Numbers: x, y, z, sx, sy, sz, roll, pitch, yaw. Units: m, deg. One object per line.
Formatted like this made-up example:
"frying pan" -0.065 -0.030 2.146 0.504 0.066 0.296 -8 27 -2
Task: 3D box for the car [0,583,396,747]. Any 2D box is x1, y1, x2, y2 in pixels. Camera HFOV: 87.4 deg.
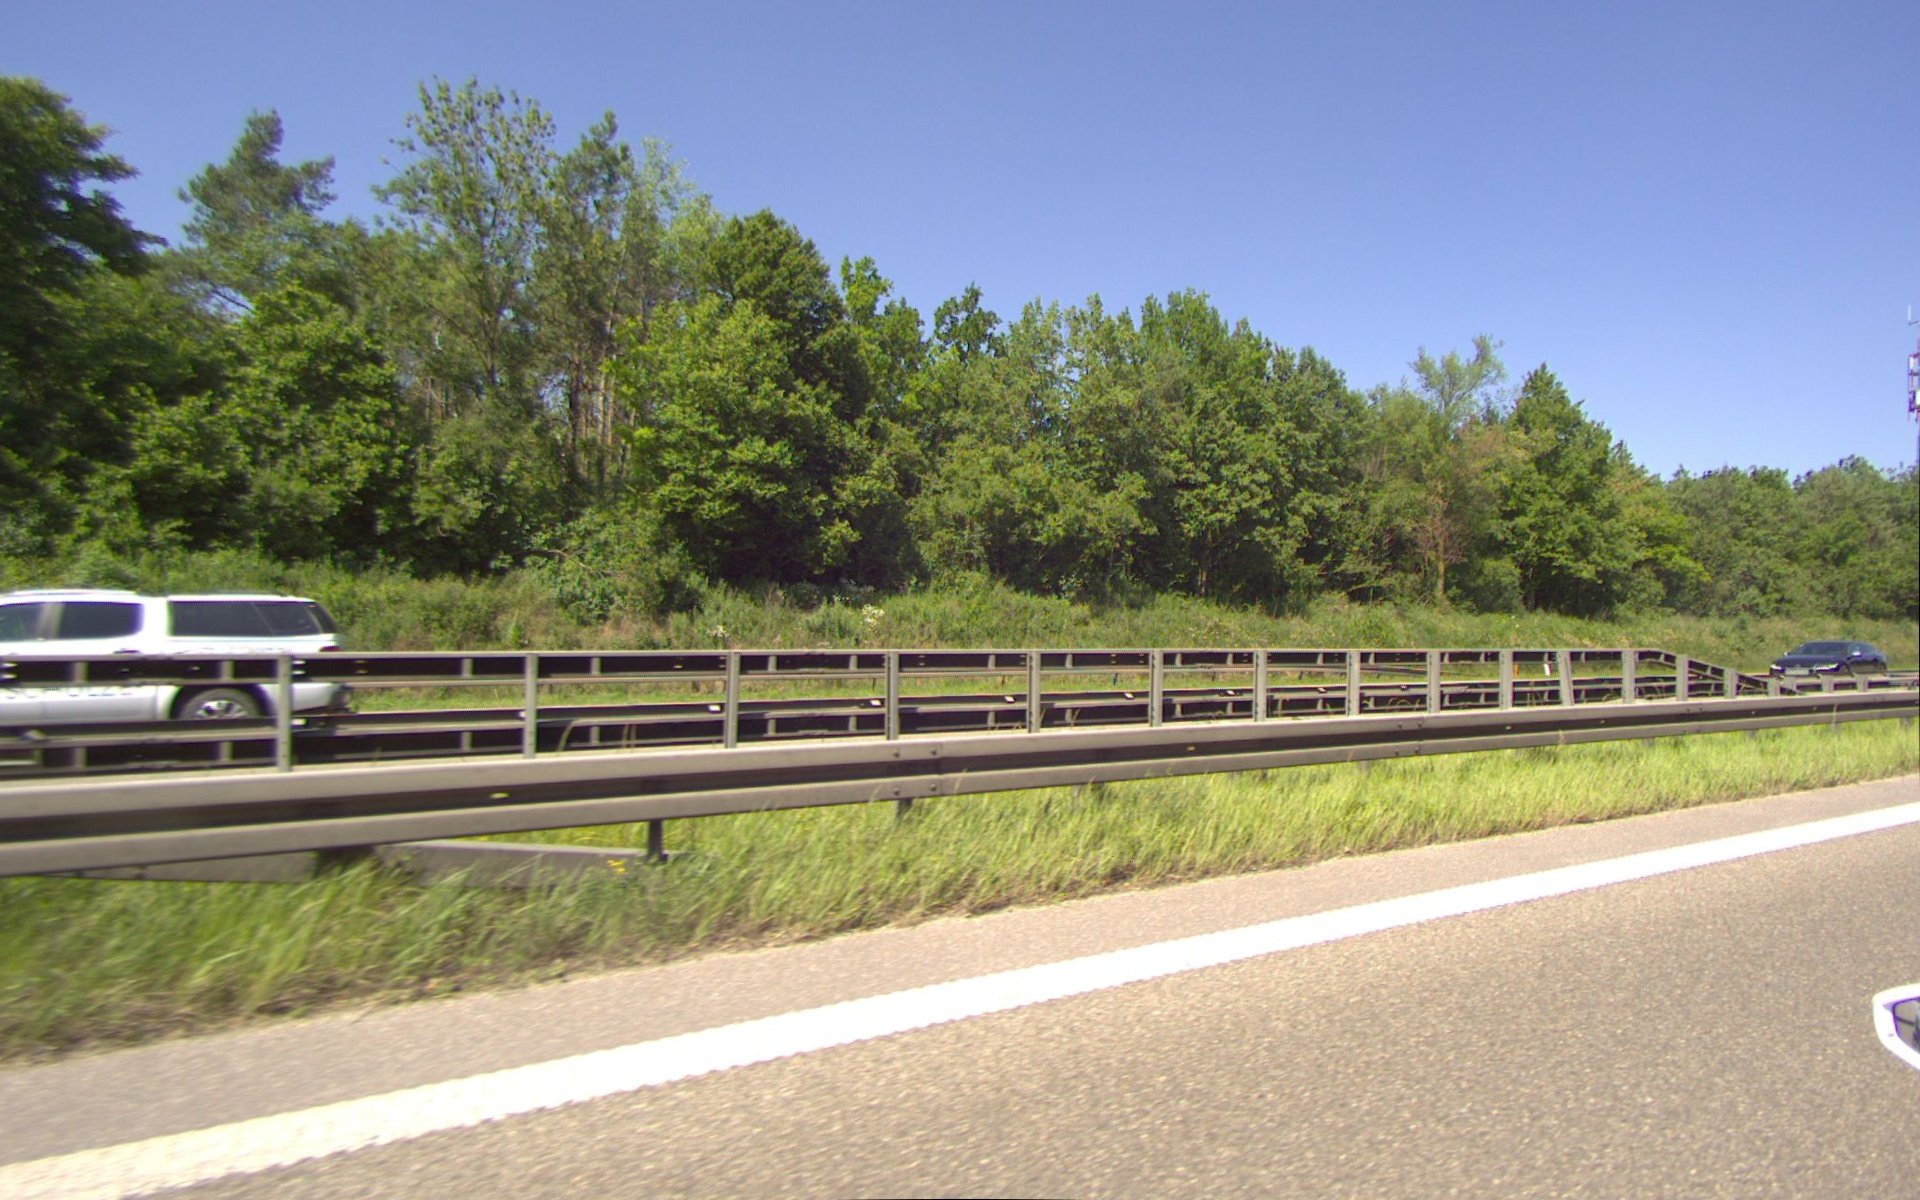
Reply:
"car" -9.504 0.722 11.279 5.471 1.654 1.770 1 -4 -29

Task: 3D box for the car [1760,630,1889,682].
"car" 28.077 1.800 32.608 4.376 1.588 1.749 1 -4 -29
